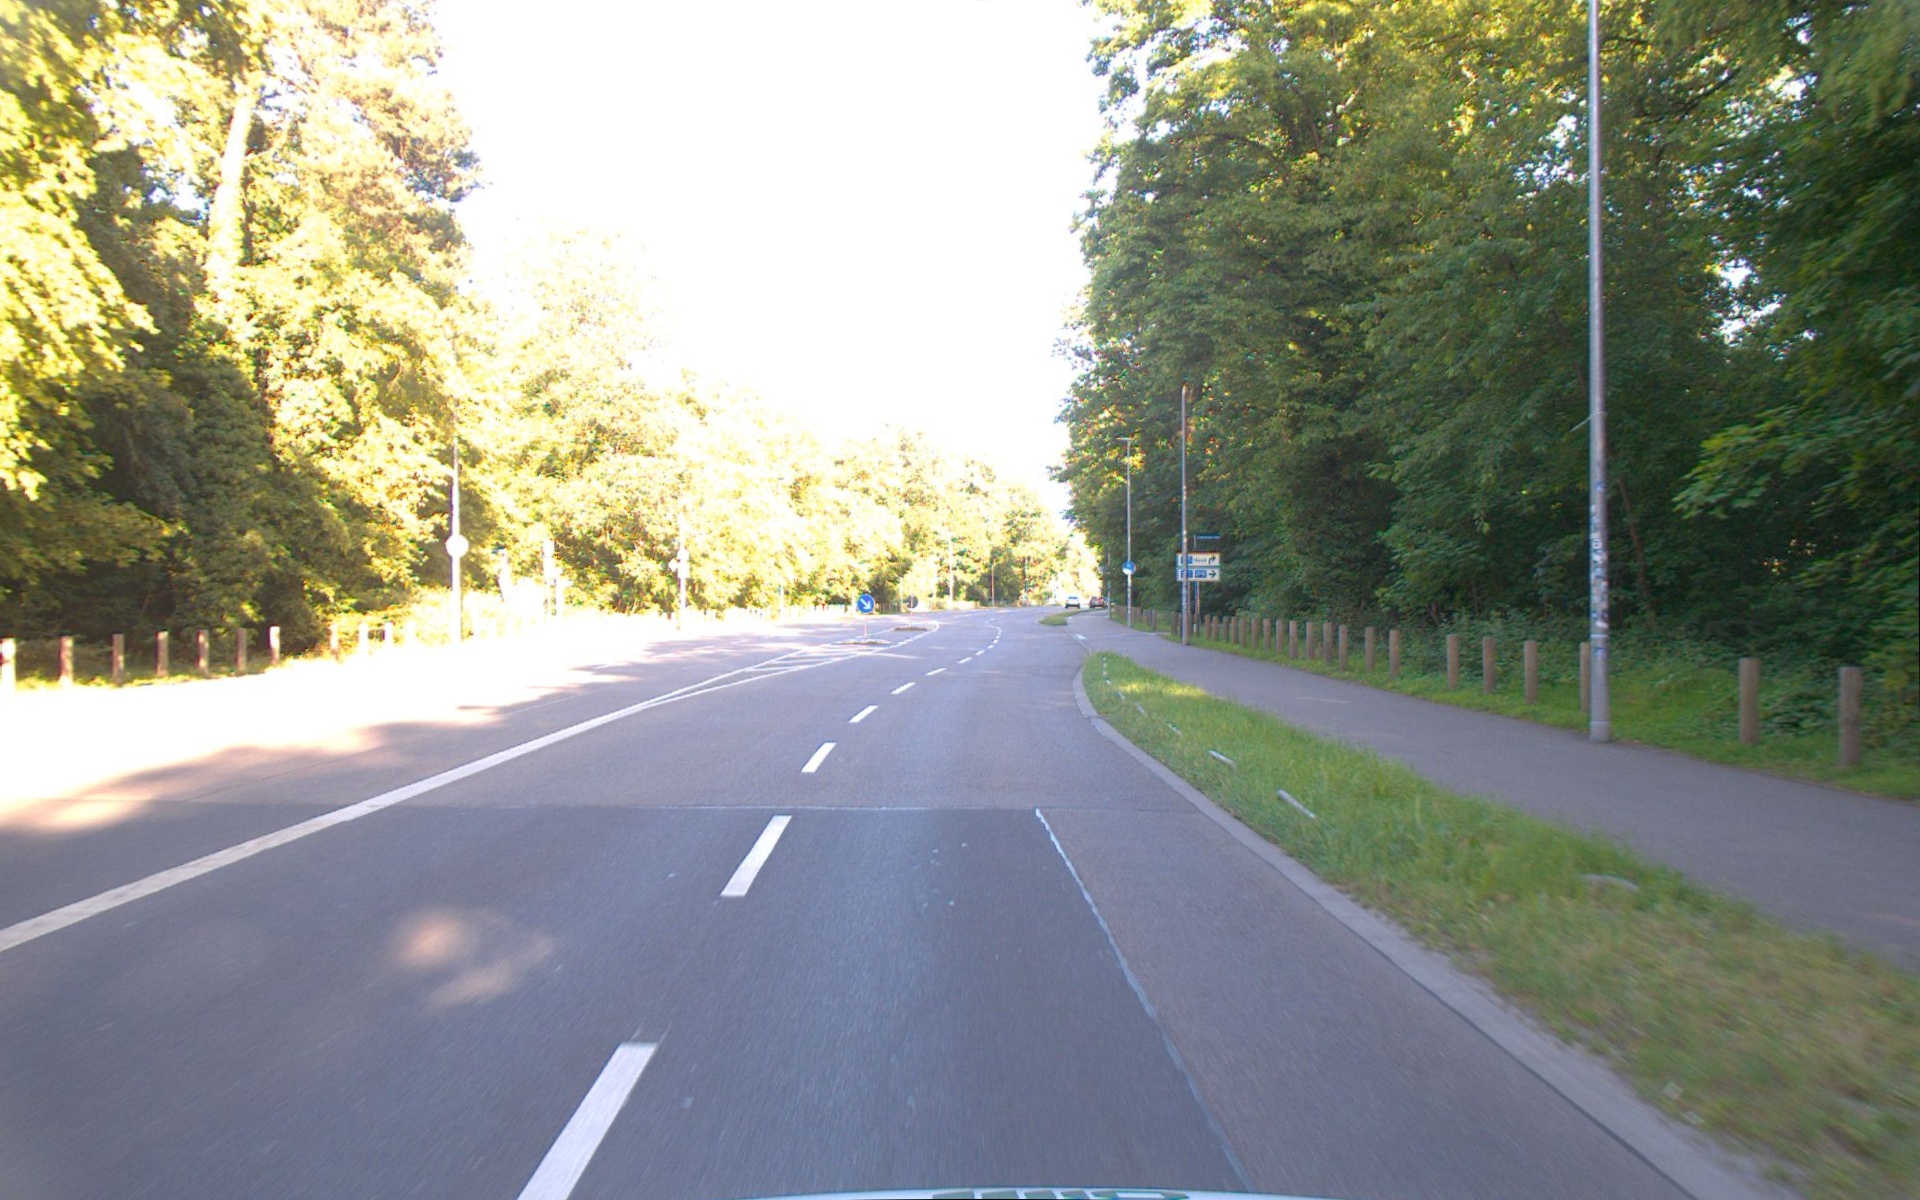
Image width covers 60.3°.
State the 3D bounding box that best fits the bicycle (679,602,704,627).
[{"bbox_3d":[-12.812,0.690,79.072,0.392,1.152,2.221,1,0,12],"label":"bicycle"}]

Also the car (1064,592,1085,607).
[{"bbox_3d":[14.383,-0.082,207.211,1.840,1.739,4.003,-1,0,15],"label":"car"}]

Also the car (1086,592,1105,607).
[{"bbox_3d":[17.534,-0.093,214.159,1.840,1.796,4.003,-1,0,15],"label":"car"}]
